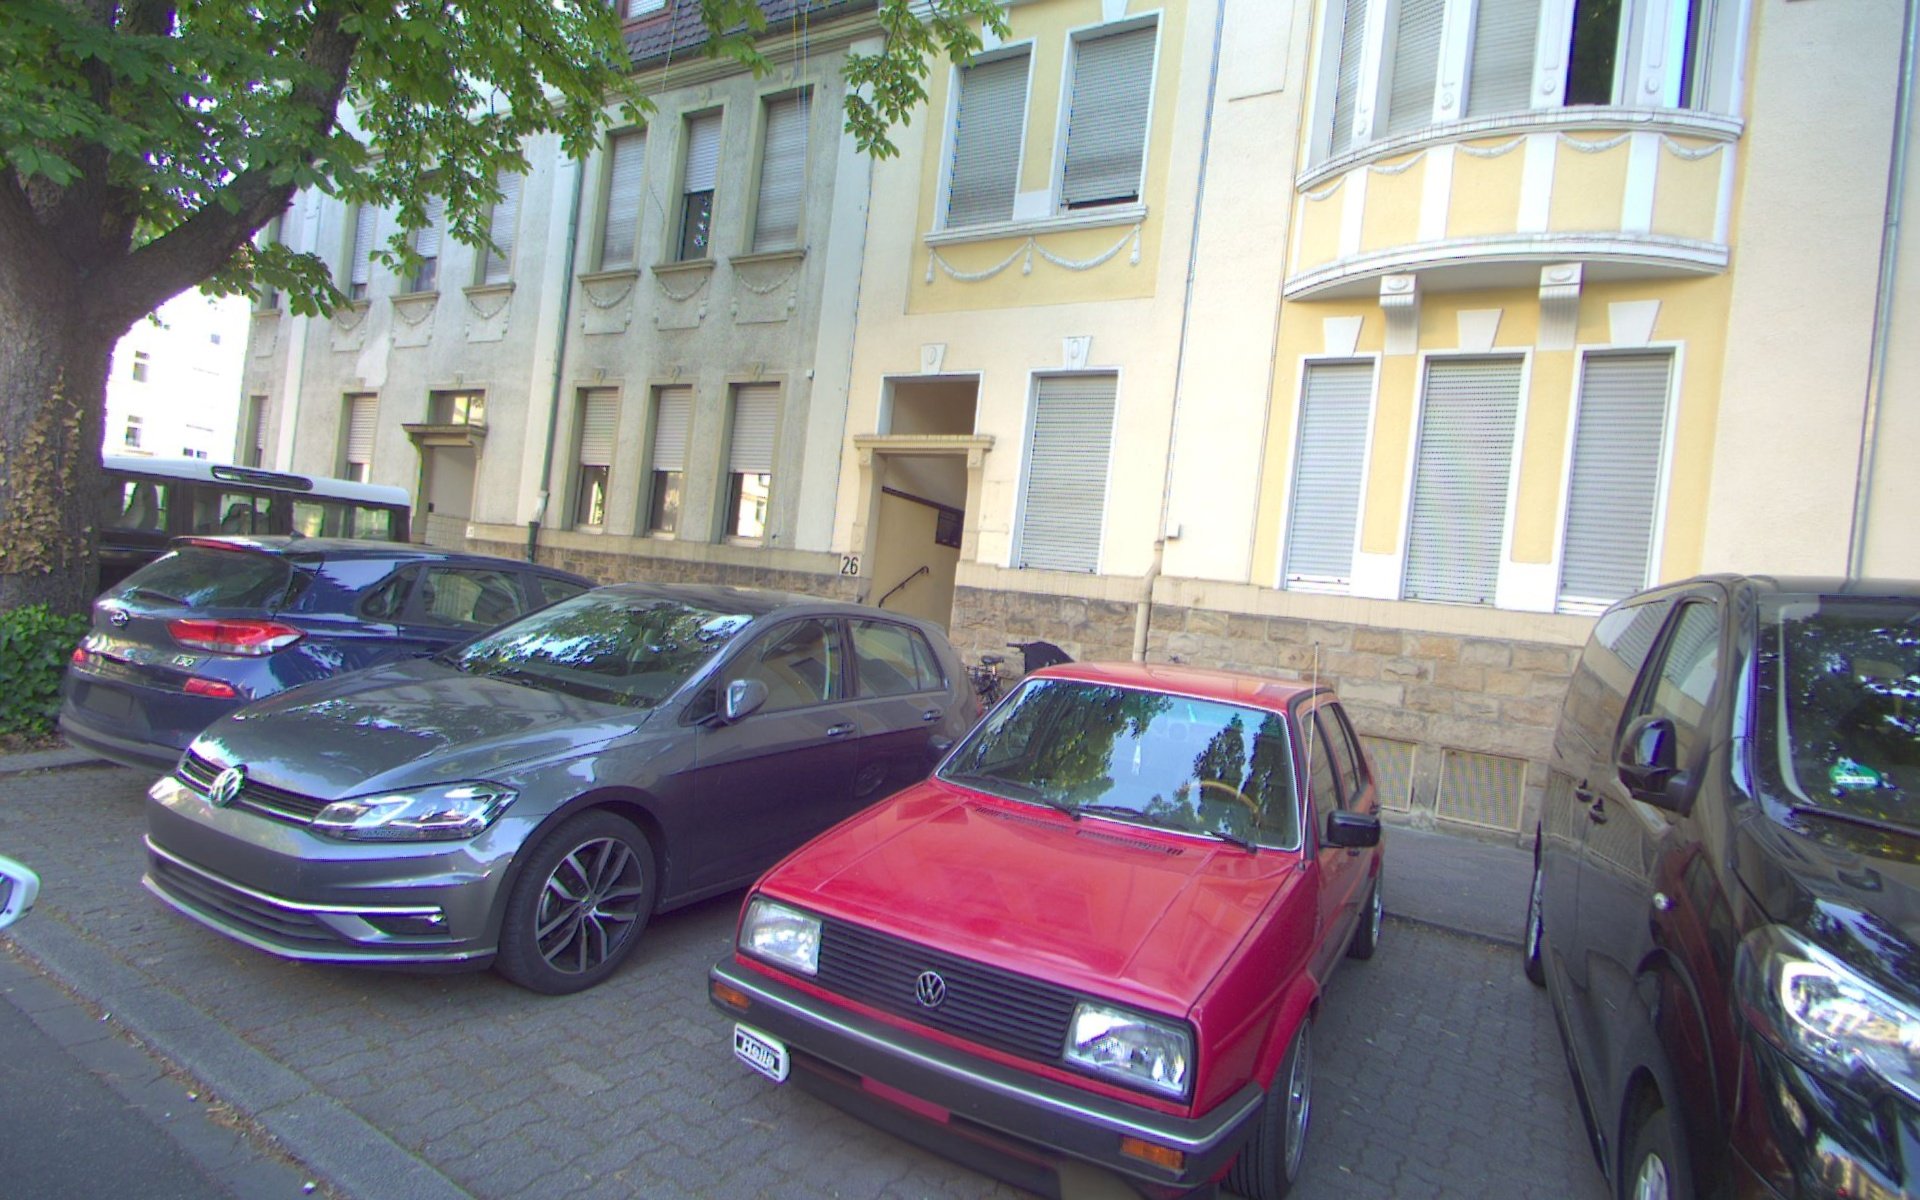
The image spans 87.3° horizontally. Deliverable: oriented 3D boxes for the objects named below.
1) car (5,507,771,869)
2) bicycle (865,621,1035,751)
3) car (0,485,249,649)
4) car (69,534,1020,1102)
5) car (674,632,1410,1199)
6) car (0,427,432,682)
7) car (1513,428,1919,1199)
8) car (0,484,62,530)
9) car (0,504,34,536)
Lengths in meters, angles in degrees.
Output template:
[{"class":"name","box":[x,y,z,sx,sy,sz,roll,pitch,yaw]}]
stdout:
[{"class":"car","box":[-3.052,0.420,6.198,1.600,1.440,3.754,6,0,29]},{"class":"bicycle","box":[-0.126,0.863,10.490,1.675,1.090,0.500,7,2,32]},{"class":"car","box":[-10.054,-0.393,10.798,1.680,1.606,3.488,7,0,25]},{"class":"car","box":[-1.353,0.654,4.845,1.600,1.440,4.054,6,0,29]},{"class":"car","box":[0.832,0.917,4.234,1.532,1.337,3.916,6,0,29]},{"class":"car","box":[-7.624,-0.378,9.321,1.762,1.981,4.496,7,1,29]},{"class":"car","box":[2.875,0.902,2.955,1.848,1.847,4.829,6,0,27]},{"class":"car","box":[-37.623,-3.808,38.618,1.757,1.479,4.293,8,-1,30]},{"class":"car","box":[-36.568,-3.153,37.015,1.357,1.081,3.370,7,-1,30]}]
